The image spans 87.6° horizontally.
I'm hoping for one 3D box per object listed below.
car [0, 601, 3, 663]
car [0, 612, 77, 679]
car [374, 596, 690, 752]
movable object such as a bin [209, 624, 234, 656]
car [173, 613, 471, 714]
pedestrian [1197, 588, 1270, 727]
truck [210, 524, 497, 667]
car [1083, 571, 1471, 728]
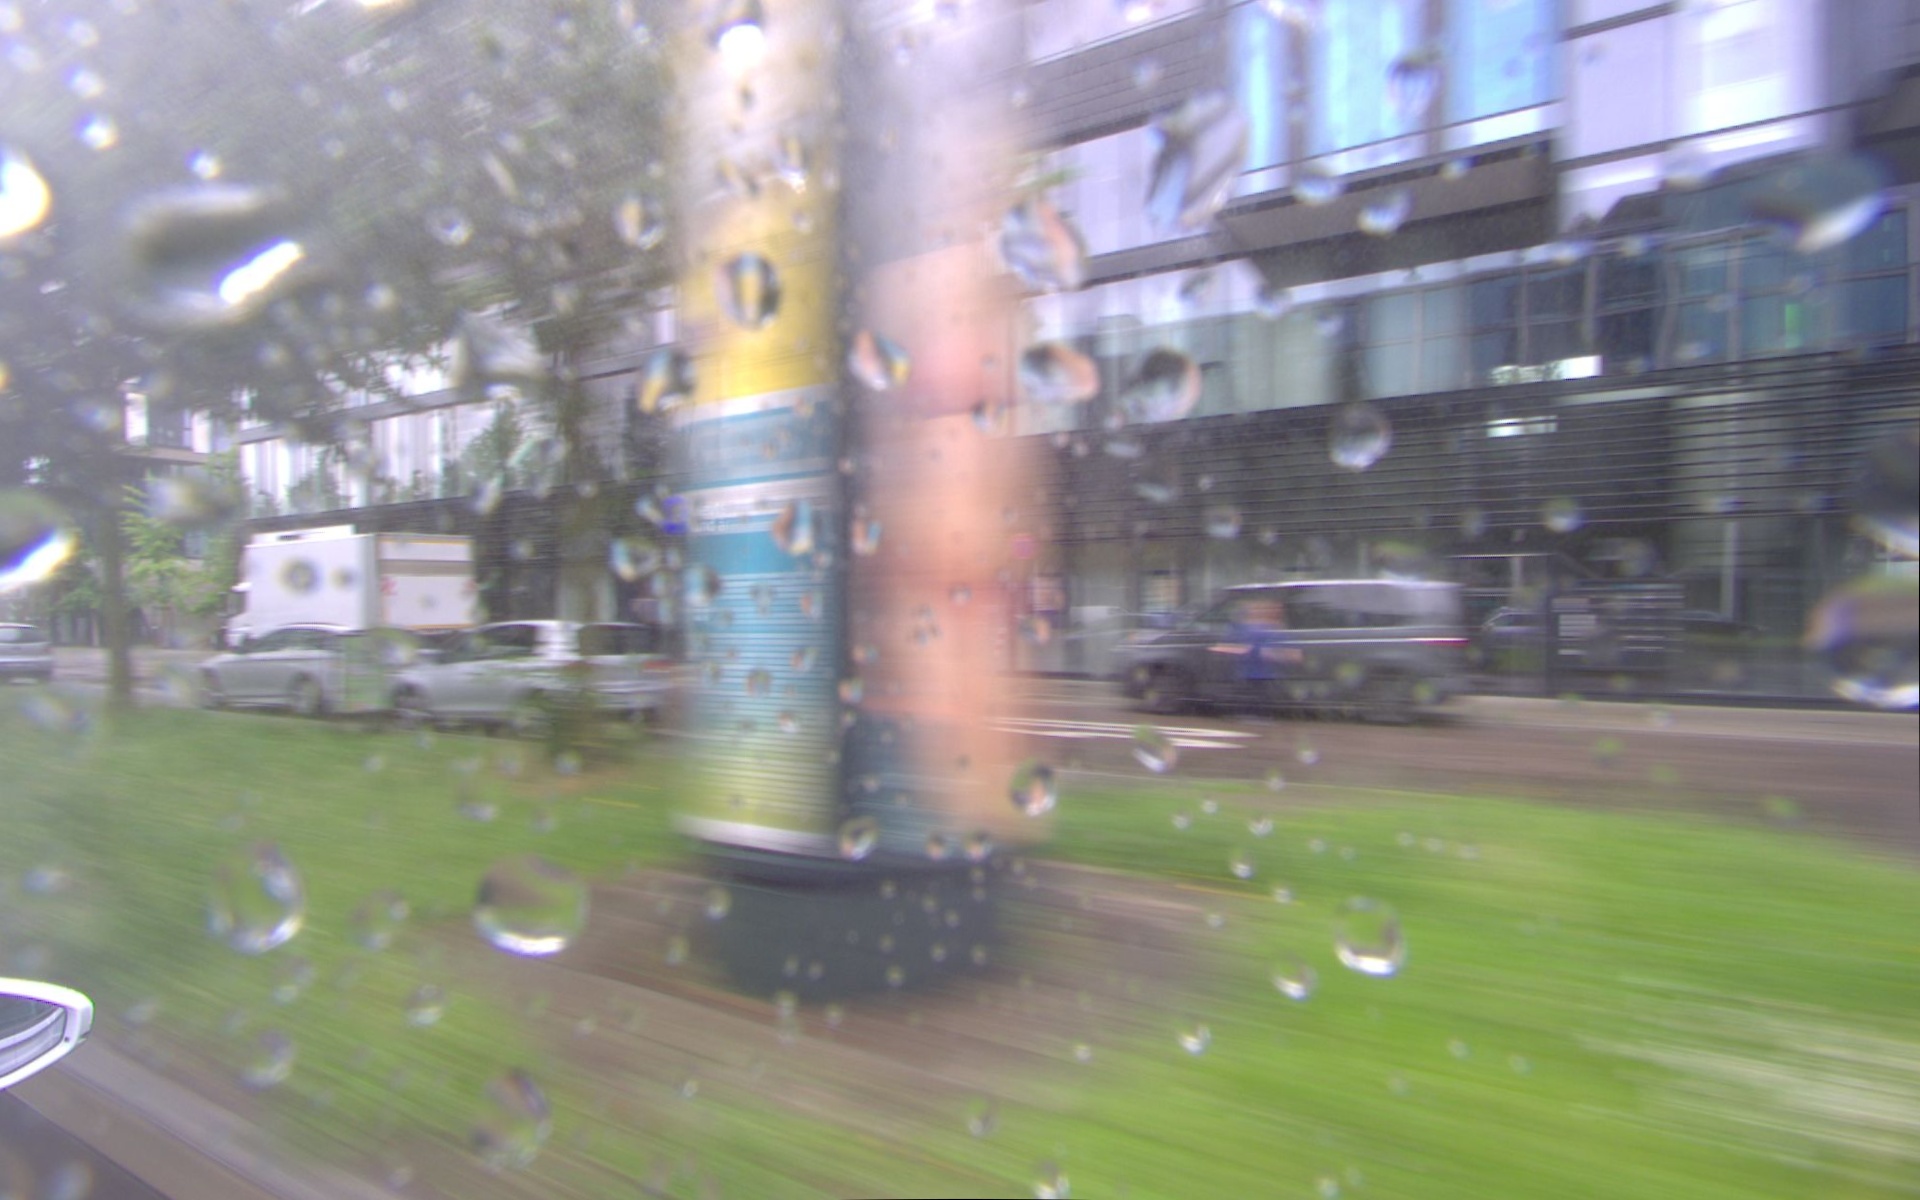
[{"bbox_3d":[-28.564,0.789,27.669,4.654,1.691,1.990,2,1,32],"label":"car"},{"bbox_3d":[-23.632,1.048,24.360,4.651,1.471,1.768,1,-1,29],"label":"car"},{"bbox_3d":[-5.602,0.829,12.985,4.039,1.618,1.757,2,1,32],"label":"car"},{"bbox_3d":[-30.386,1.643,41.182,0.638,1.293,0.607,3,1,27],"label":"movable object such as a bin"},{"bbox_3d":[-10.708,0.955,16.713,5.156,1.463,1.992,0,-1,29],"label":"car"},{"bbox_3d":[3.651,0.739,13.356,0.791,1.764,0.579,3,5,29],"label":"pedestrian"},{"bbox_3d":[-16.855,-0.072,27.673,8.416,3.486,3.022,0,0,29],"label":"truck"},{"bbox_3d":[4.513,0.627,14.484,5.071,1.945,1.991,0,0,29],"label":"car"}]
